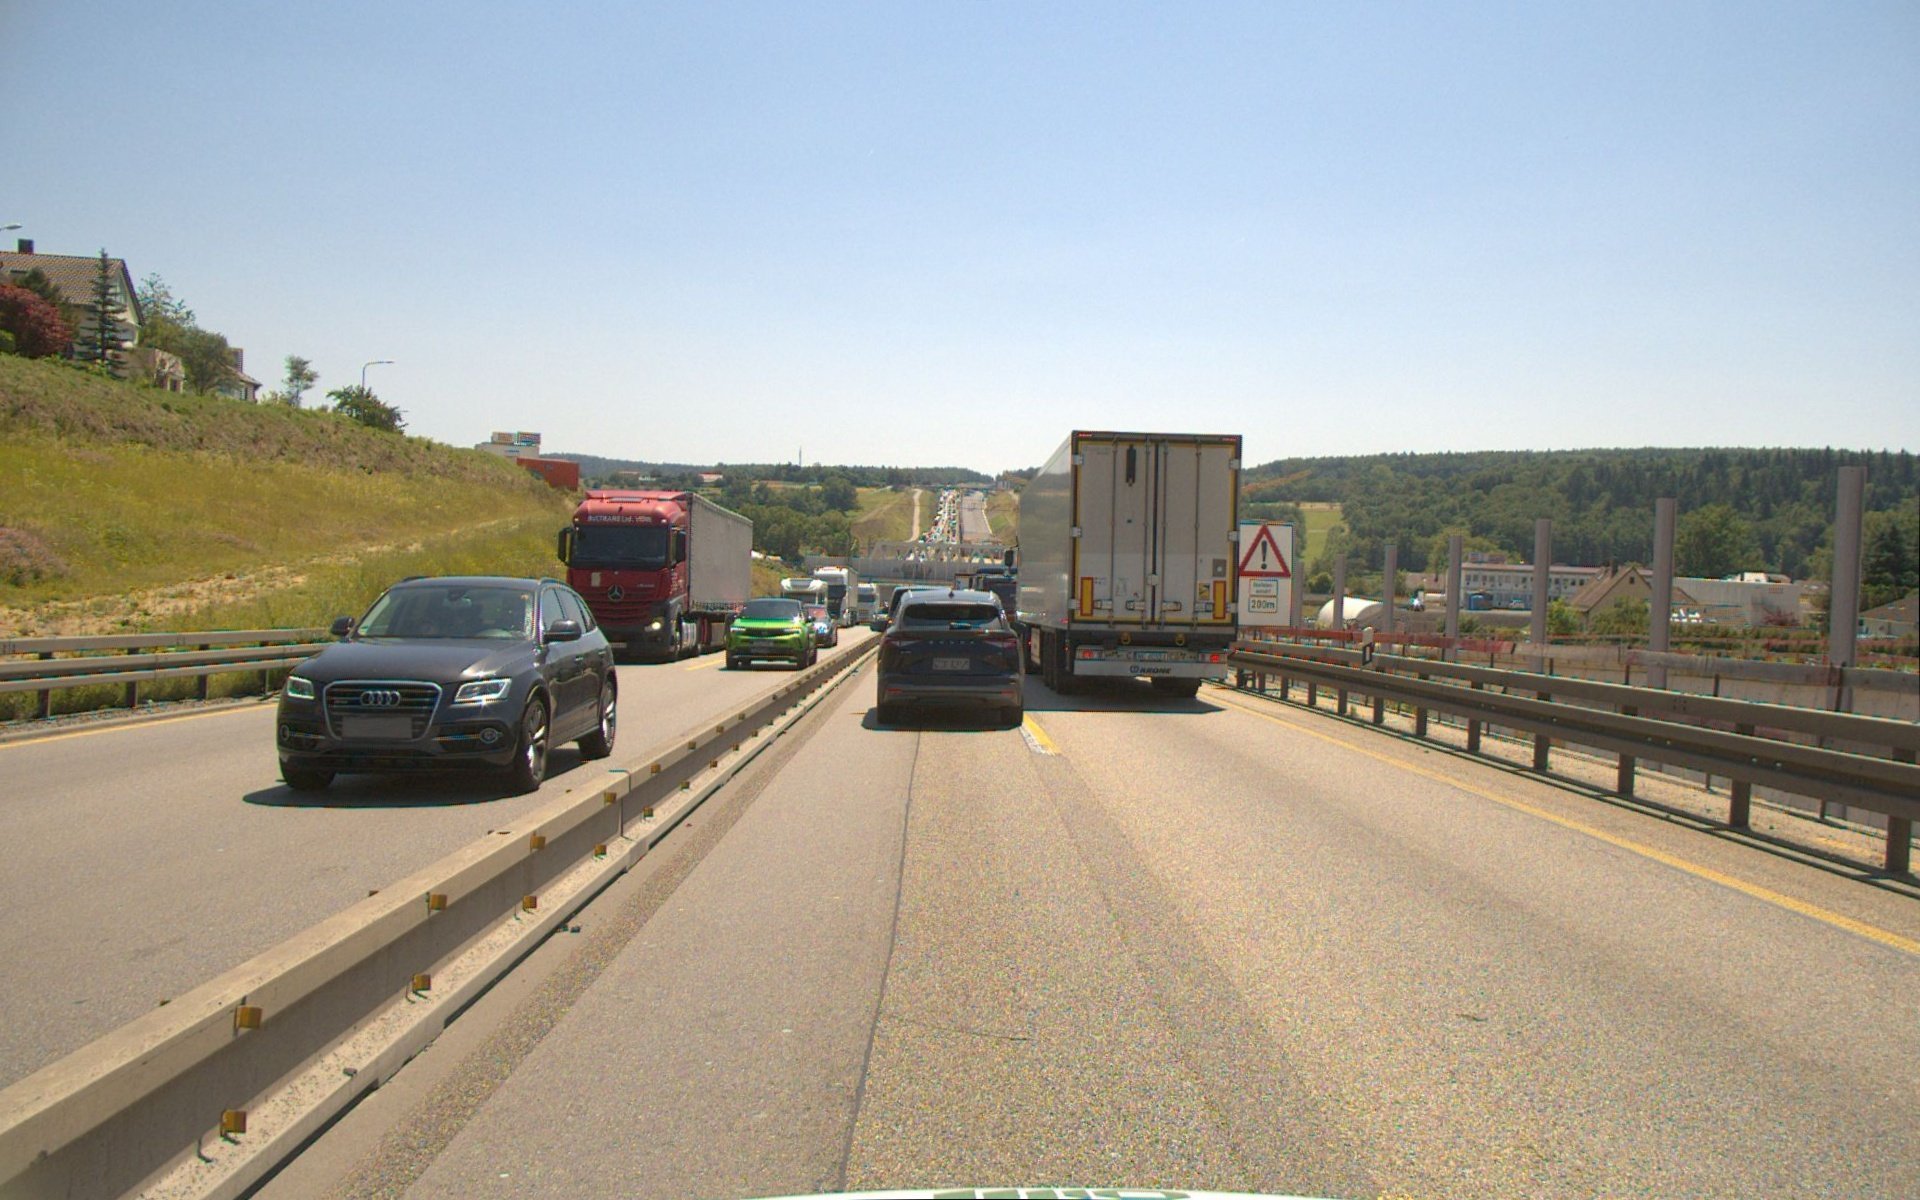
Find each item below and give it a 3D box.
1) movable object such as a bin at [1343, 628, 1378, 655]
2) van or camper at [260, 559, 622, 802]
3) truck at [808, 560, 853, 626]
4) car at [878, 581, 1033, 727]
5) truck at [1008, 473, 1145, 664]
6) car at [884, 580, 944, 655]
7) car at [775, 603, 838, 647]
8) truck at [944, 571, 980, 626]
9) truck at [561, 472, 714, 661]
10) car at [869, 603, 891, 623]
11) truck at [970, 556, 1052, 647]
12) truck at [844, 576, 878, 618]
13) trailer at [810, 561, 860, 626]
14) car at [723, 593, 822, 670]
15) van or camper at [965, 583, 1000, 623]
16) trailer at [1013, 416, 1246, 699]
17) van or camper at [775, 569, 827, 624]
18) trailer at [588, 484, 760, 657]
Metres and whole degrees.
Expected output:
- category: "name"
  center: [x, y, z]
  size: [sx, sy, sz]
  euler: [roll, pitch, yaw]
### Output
- category: "movable object such as a bin"
  center: [34.305, 3.534, 141.779]
  size: [1.953, 2.278, 4.151]
  euler: [1, -1, 0]
- category: "van or camper"
  center: [-4.079, 0.571, 13.683]
  size: [1.791, 1.697, 3.887]
  euler: [1, 0, -1]
- category: "truck"
  center: [-8.779, -0.455, 112.438]
  size: [2.718, 4.362, 4.675]
  euler: [1, 0, -2]
- category: "car"
  center: [-0.076, 0.626, 20.838]
  size: [1.764, 1.649, 3.297]
  euler: [1, 0, -1]
- category: "truck"
  center: [2.612, -0.638, 38.455]
  size: [2.720, 4.130, 4.903]
  euler: [1, -1, -1]
- category: "car"
  center: [-1.153, 0.435, 42.303]
  size: [1.445, 1.826, 3.297]
  euler: [1, 0, -1]
- category: "car"
  center: [-5.003, 0.794, 54.497]
  size: [1.732, 1.386, 4.410]
  euler: [1, 0, -1]
- category: "truck"
  center: [0.149, -0.086, 128.696]
  size: [2.467, 4.028, 7.597]
  euler: [2, 0, -1]
- category: "truck"
  center: [-7.595, -0.747, 39.522]
  size: [2.764, 4.196, 4.597]
  euler: [1, 0, -1]
- category: "car"
  center: [-6.117, 0.990, 126.346]
  size: [1.596, 1.505, 3.379]
  euler: [1, 0, -1]
- category: "truck"
  center: [1.854, 0.128, 65.098]
  size: [2.756, 3.190, 12.835]
  euler: [1, -1, 0]
- category: "truck"
  center: [-10.072, -0.284, 168.816]
  size: [3.173, 4.233, 4.246]
  euler: [1, -1, -1]
- category: "trailer"
  center: [-8.959, -0.411, 119.882]
  size: [2.753, 4.362, 14.030]
  euler: [1, 0, -1]
- category: "car"
  center: [-4.072, 0.658, 36.406]
  size: [1.718, 1.534, 3.999]
  euler: [3, 0, -1]
- category: "van or camper"
  center: [1.320, 0.189, 99.795]
  size: [1.953, 2.284, 3.999]
  euler: [2, 0, 0]
- category: "trailer"
  center: [2.729, -0.512, 31.391]
  size: [2.744, 4.130, 14.112]
  euler: [1, -1, -1]
- category: "van or camper"
  center: [-8.646, -0.175, 90.699]
  size: [2.287, 2.826, 7.514]
  euler: [1, 0, -1]
- category: "trailer"
  center: [-7.834, -0.731, 47.406]
  size: [2.799, 4.196, 13.433]
  euler: [1, 0, -1]
